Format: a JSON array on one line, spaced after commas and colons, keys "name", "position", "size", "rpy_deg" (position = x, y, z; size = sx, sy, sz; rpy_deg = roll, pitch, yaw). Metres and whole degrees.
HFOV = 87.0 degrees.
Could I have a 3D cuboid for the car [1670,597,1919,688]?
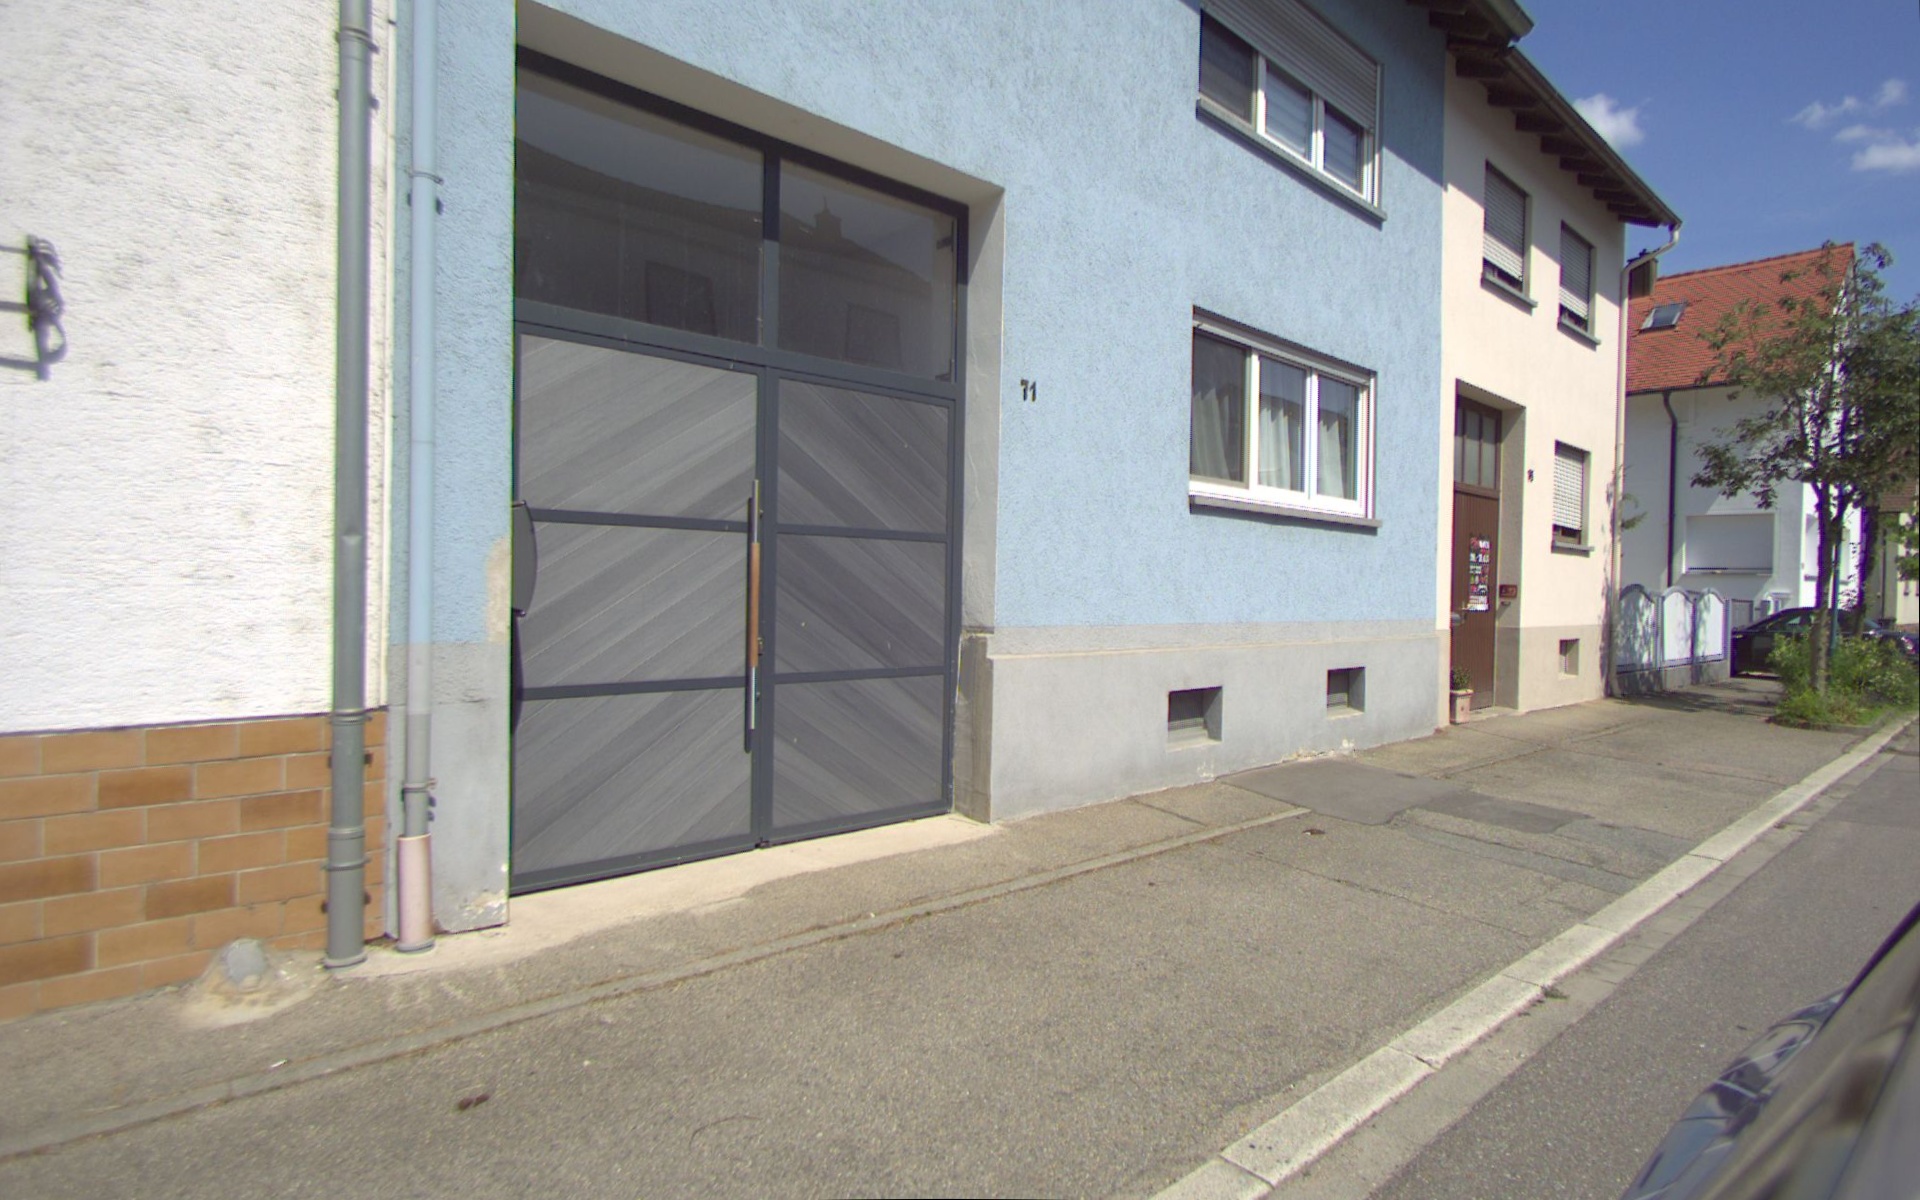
[{"name": "car", "position": [15.763, 0.707, 18.840], "size": [1.695, 1.447, 3.817], "rpy_deg": [0, 1, -37]}]
